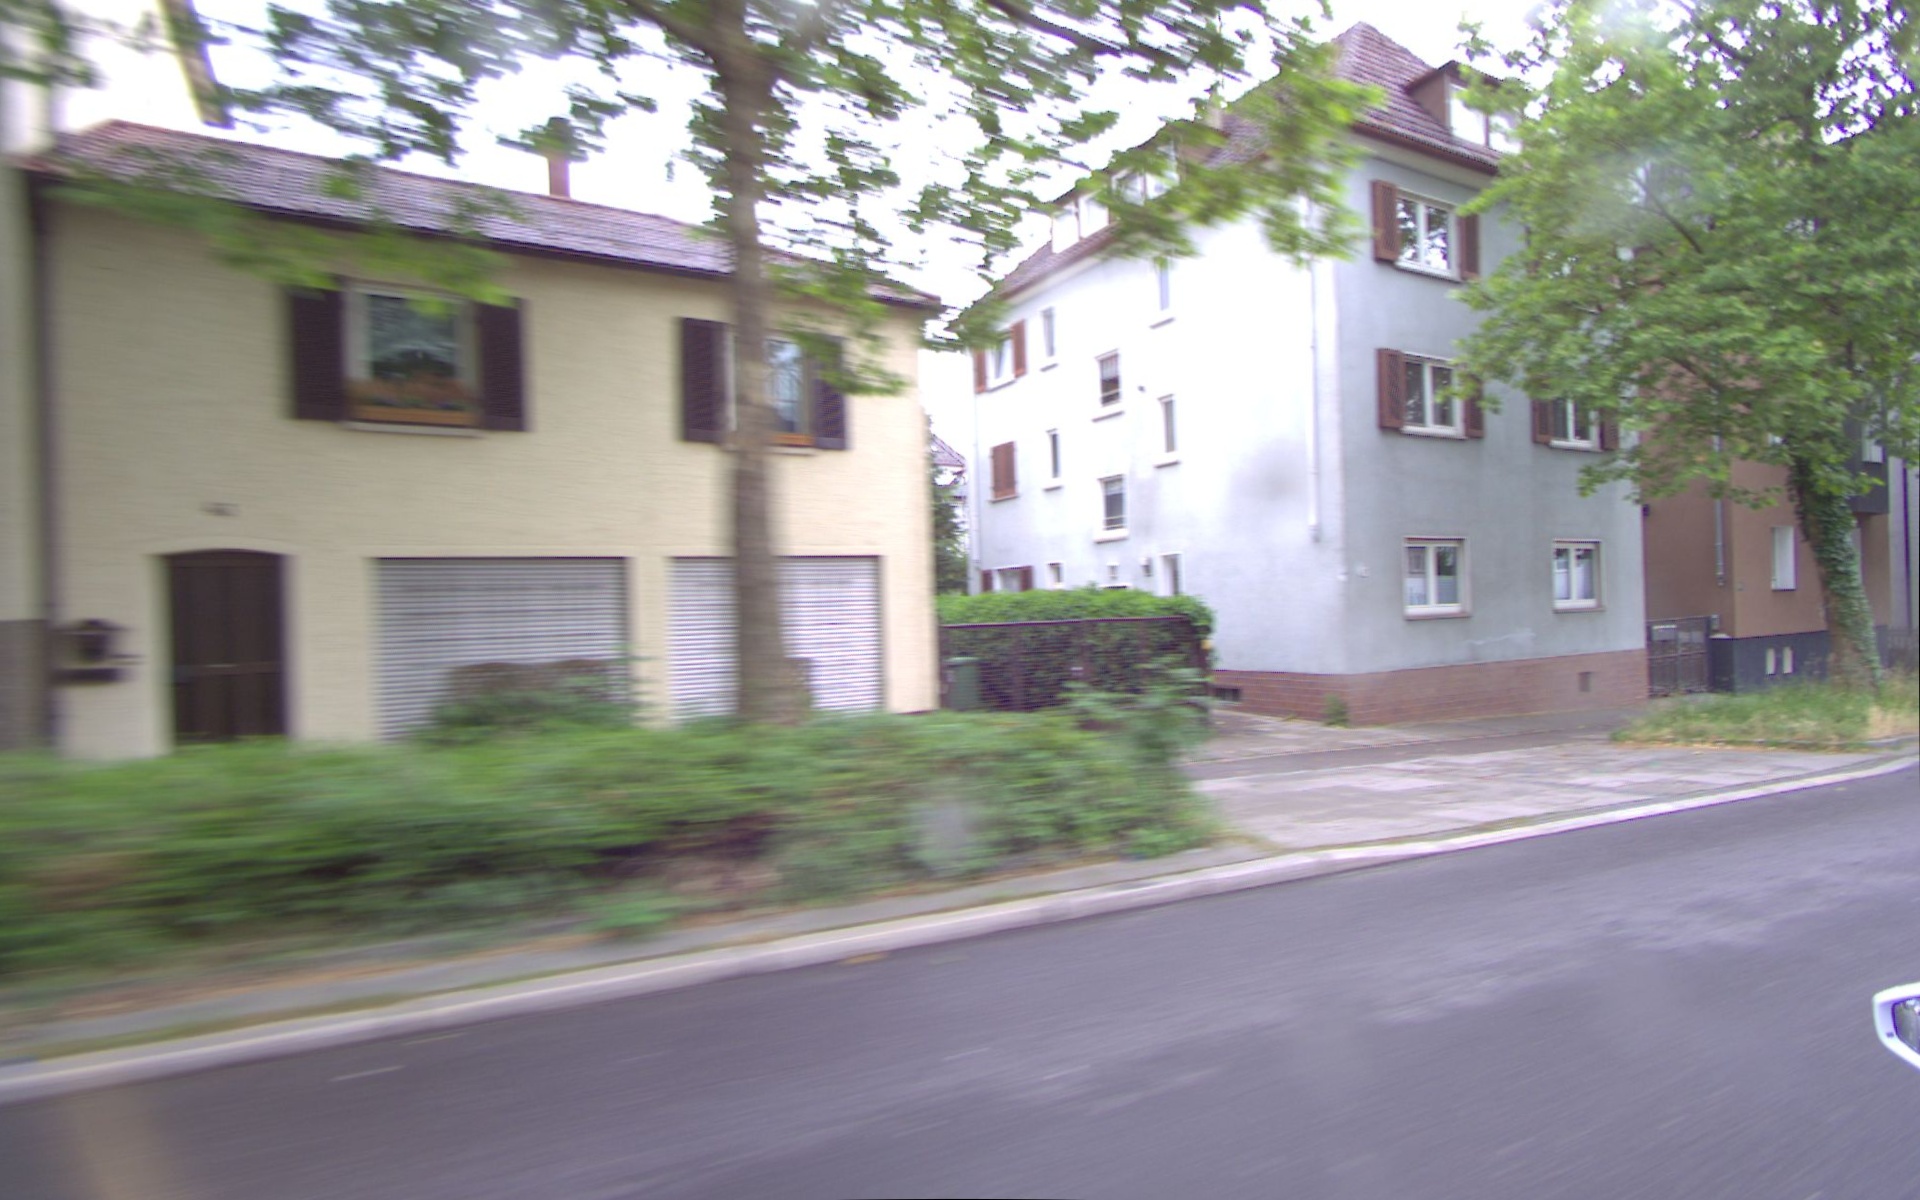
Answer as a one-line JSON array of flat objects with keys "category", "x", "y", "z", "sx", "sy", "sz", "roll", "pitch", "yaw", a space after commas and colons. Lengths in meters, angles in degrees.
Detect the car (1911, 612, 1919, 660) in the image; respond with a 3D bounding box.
[{"category": "car", "x": 40.268, "y": 1.411, "z": 39.218, "sx": 1.977, "sy": 1.917, "sz": 4.177, "roll": 1, "pitch": -1, "yaw": -30}]
